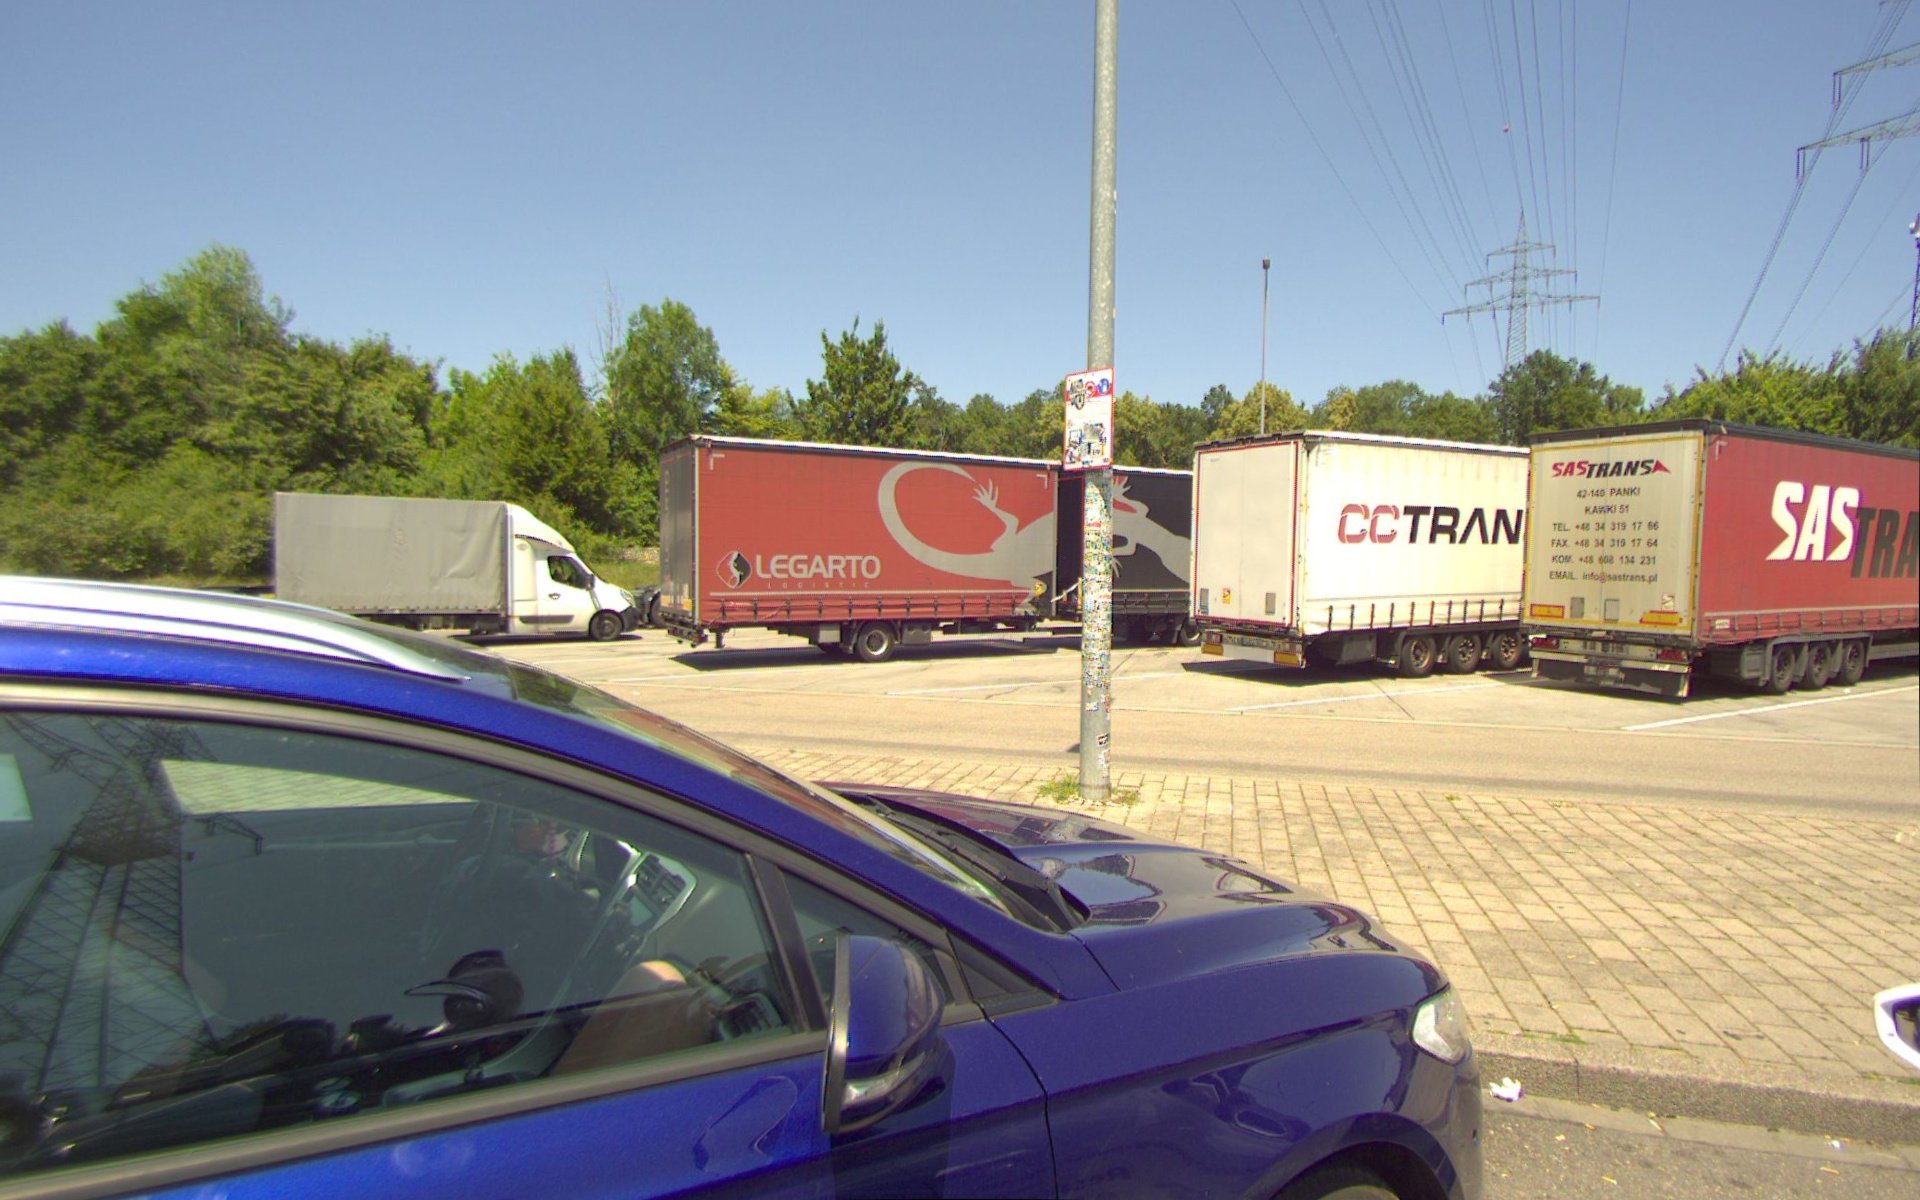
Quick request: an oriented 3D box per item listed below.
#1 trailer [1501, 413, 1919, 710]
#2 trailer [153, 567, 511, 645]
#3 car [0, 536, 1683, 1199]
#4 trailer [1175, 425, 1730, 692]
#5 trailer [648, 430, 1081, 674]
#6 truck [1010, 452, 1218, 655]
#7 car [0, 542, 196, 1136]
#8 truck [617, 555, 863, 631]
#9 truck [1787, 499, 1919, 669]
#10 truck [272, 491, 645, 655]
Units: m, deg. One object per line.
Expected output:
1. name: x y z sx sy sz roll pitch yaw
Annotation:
1. trailer: 15.606 -0.693 18.732 13.962 4.141 2.777 -1 3 -30
2. trailer: -15.164 0.054 24.903 7.204 1.711 2.249 -1 3 -29
3. car: -1.037 0.677 1.502 4.444 1.511 1.859 0 2 -32
4. trailer: 10.587 -0.801 20.344 13.962 4.141 2.782 -1 3 -30
5. trailer: -1.743 -0.902 20.337 8.376 4.141 2.722 -1 3 -30
6. truck: 3.570 -1.067 23.458 3.947 4.298 2.723 -1 3 -30
7. car: -4.613 0.600 2.235 4.444 1.520 1.762 0 2 -32
8. truck: -6.347 -0.231 29.283 6.733 2.041 1.987 -1 1 -26
9. truck: 21.209 -0.394 22.009 5.829 3.373 2.837 -1 3 -30
10. truck: -11.189 -0.626 23.034 7.204 3.279 2.727 -1 3 -29
